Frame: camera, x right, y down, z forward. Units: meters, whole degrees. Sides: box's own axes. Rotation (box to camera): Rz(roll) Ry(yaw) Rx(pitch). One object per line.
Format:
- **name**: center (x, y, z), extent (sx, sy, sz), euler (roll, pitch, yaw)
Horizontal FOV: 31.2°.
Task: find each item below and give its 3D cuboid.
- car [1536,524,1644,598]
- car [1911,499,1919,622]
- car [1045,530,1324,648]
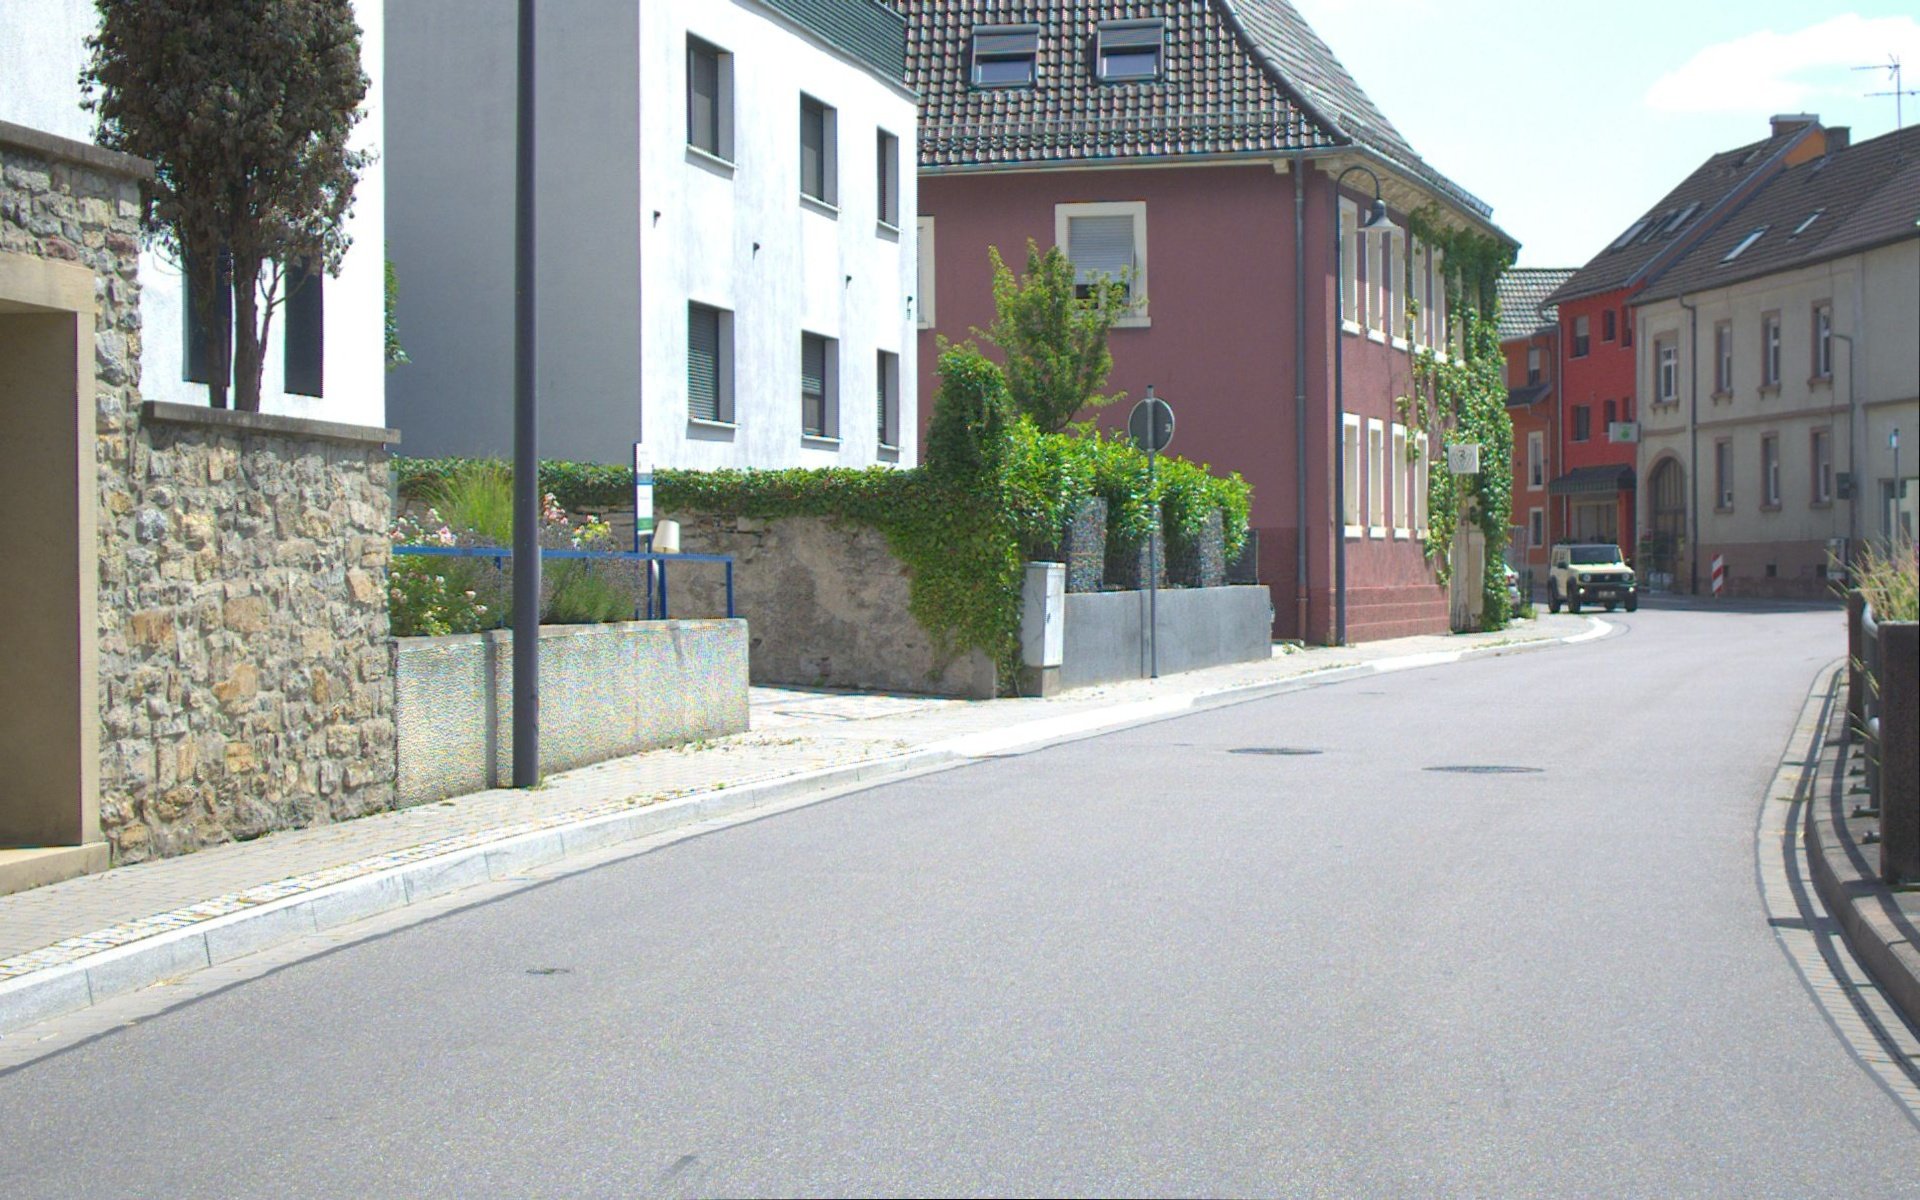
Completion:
- **car**: center (15.531, -0.945, 84.886), extent (1.621, 1.713, 3.473), euler (-3, 0, -6)
- **car**: center (16.743, -0.697, 56.305), extent (1.899, 1.974, 3.110), euler (-2, 0, 21)
- **car**: center (3.174, -0.175, 48.514), extent (3.568, 1.401, 1.650), euler (4, 2, 18)
